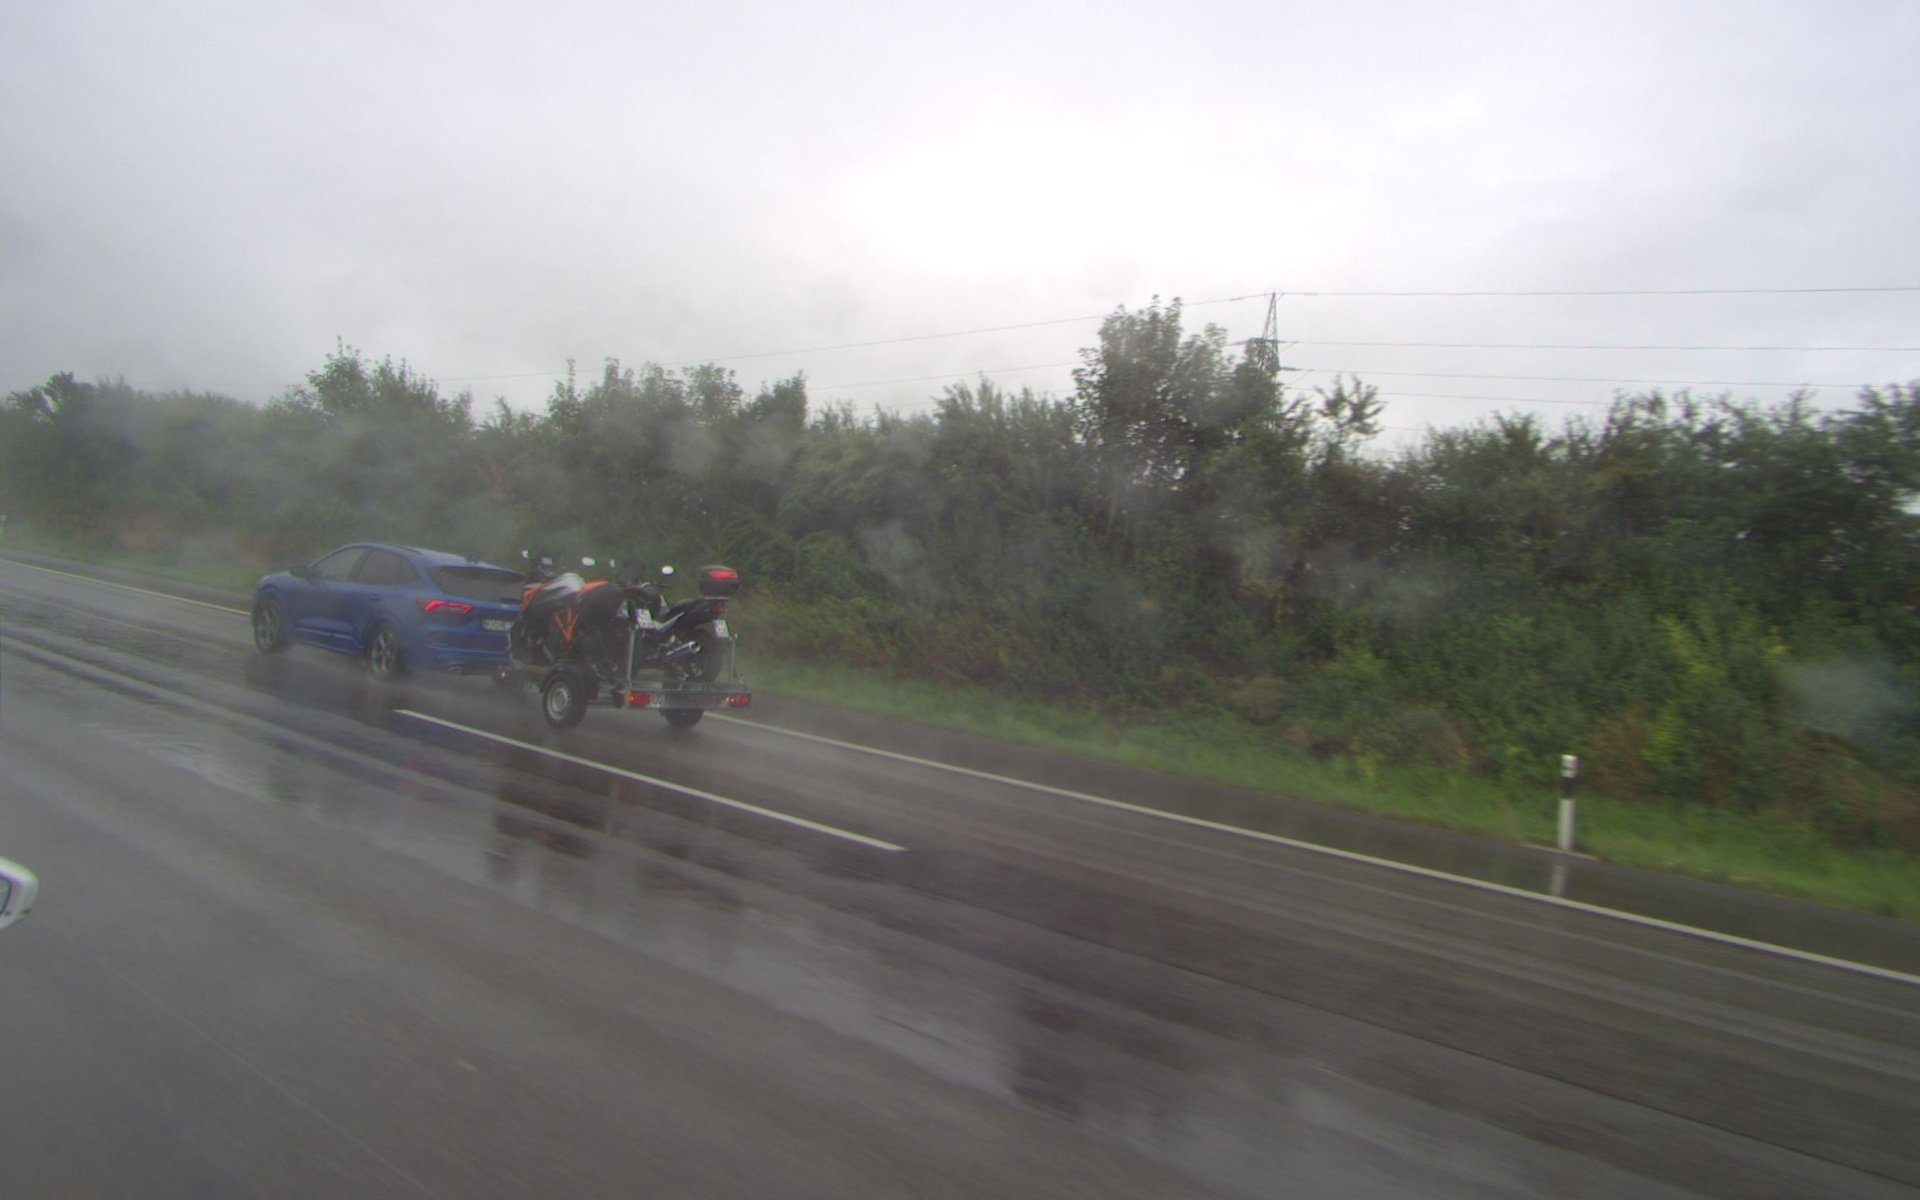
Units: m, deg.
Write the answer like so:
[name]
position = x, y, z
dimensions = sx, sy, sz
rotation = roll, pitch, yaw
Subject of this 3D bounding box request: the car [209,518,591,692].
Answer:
[car]
position = -7.296, 0.029, 12.960
dimensions = 4.909, 1.638, 1.997
rotation = 6, -2, 31

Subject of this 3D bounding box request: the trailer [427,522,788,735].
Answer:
[trailer]
position = -3.790, 0.287, 10.838
dimensions = 3.136, 1.806, 1.983
rotation = 6, -2, 31
